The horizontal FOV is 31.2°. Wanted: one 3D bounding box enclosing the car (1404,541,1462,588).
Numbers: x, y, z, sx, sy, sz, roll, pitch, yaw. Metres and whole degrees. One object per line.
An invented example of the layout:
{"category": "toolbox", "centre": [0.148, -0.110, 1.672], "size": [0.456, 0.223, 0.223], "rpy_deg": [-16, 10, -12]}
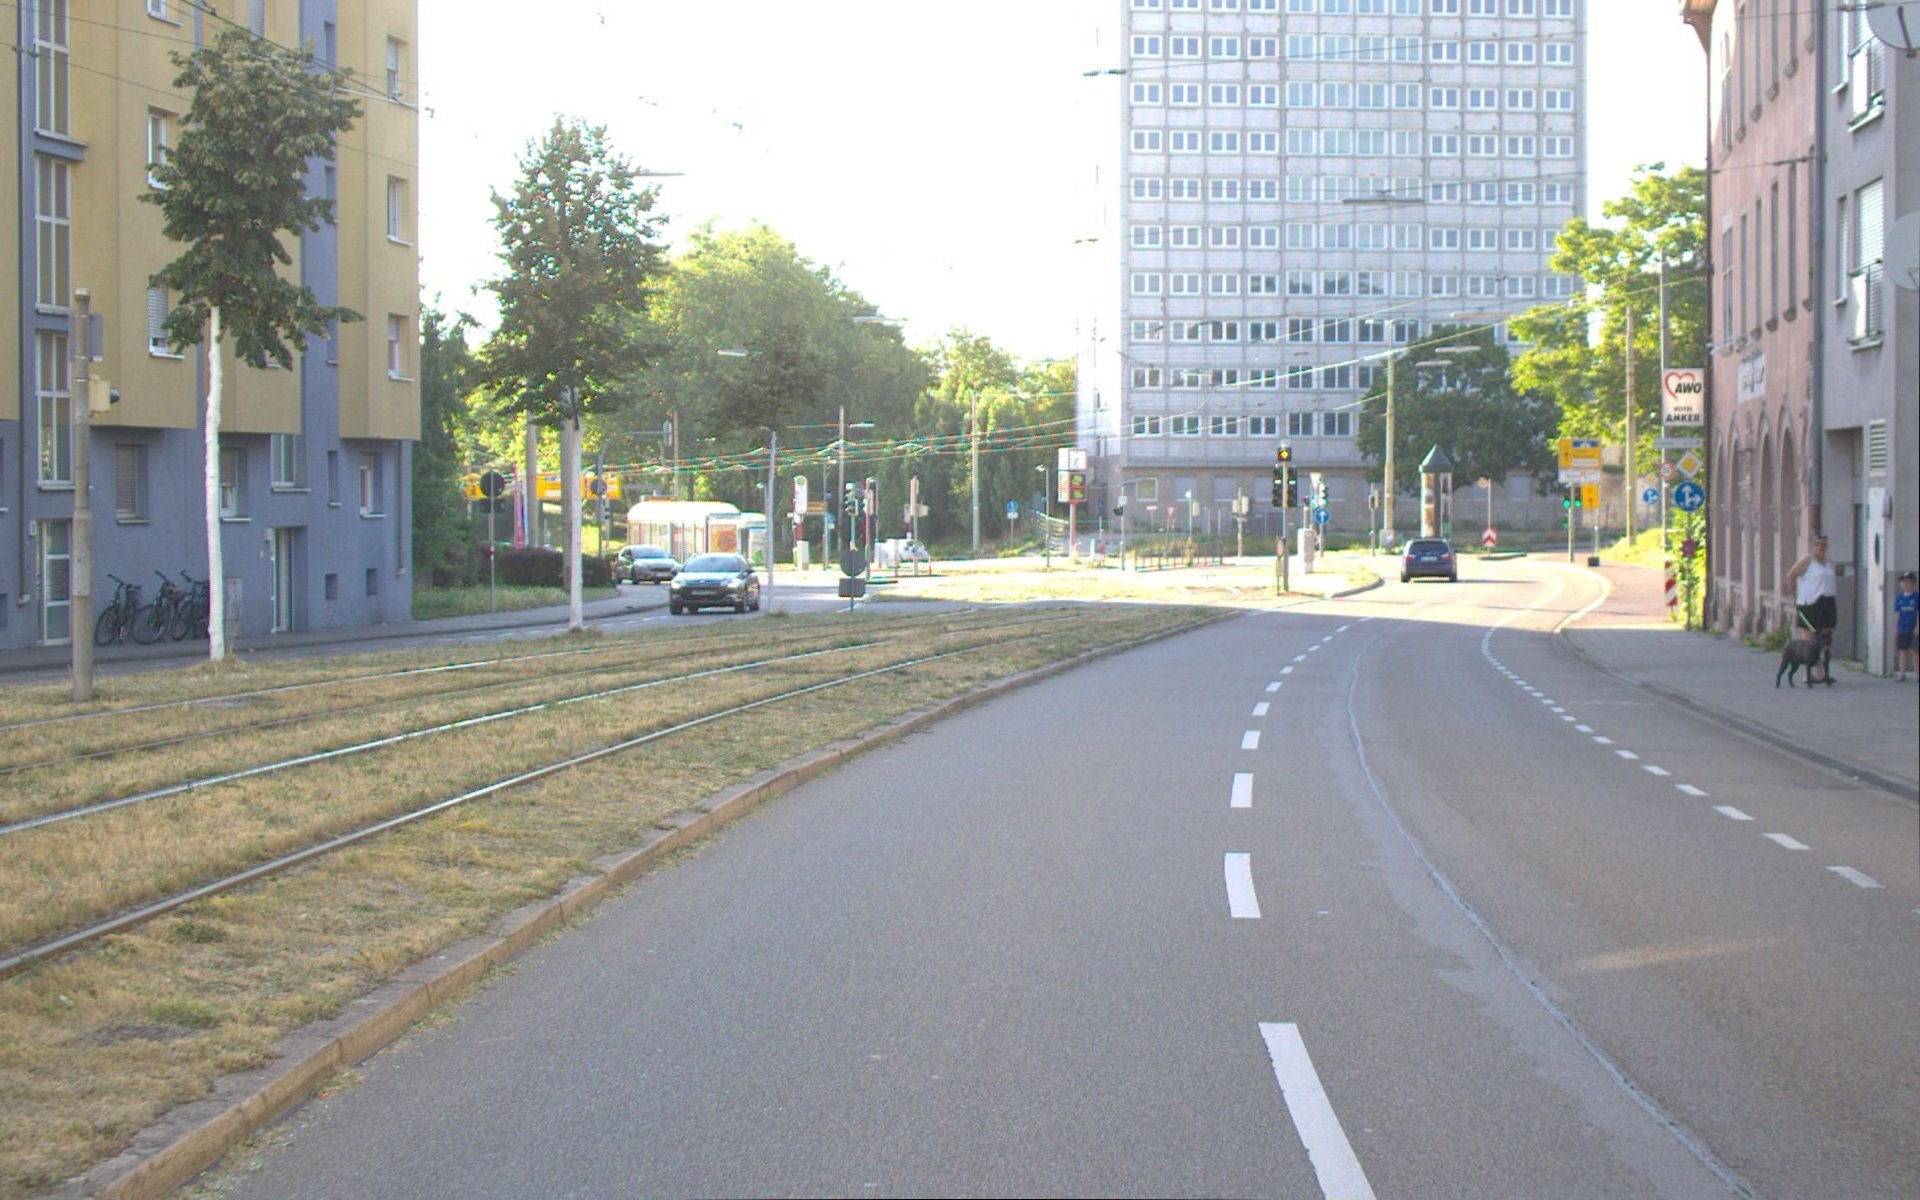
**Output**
{"category": "car", "centre": [15.249, -1.151, 110.836], "size": [1.773, 1.417, 3.855], "rpy_deg": [0, 2, 9]}

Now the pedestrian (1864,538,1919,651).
{"category": "pedestrian", "centre": [10.448, -0.063, 38.409], "size": [0.587, 1.247, 0.584], "rpy_deg": [0, 1, 7]}

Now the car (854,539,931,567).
{"category": "car", "centre": [-3.776, -2.604, 191.355], "size": [3.996, 1.525, 1.995], "rpy_deg": [1, 2, 41]}

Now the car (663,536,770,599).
{"category": "car", "centre": [-6.003, -0.805, 85.221], "size": [1.793, 1.464, 4.795], "rpy_deg": [-2, 0, 6]}

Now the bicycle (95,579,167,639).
{"category": "bicycle", "centre": [-13.573, 0.135, 56.322], "size": [0.427, 0.922, 1.911], "rpy_deg": [4, 2, 8]}

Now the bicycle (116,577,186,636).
{"category": "bicycle", "centre": [-13.544, 0.093, 57.602], "size": [0.427, 0.922, 1.911], "rpy_deg": [4, 2, 8]}

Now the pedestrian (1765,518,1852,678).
{"category": "pedestrian", "centre": [9.525, -0.033, 38.601], "size": [0.830, 1.765, 0.996], "rpy_deg": [0, 1, 7]}

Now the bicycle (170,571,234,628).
{"category": "bicycle", "centre": [-13.208, -0.013, 59.959], "size": [0.427, 0.956, 1.911], "rpy_deg": [0, 1, 8]}
